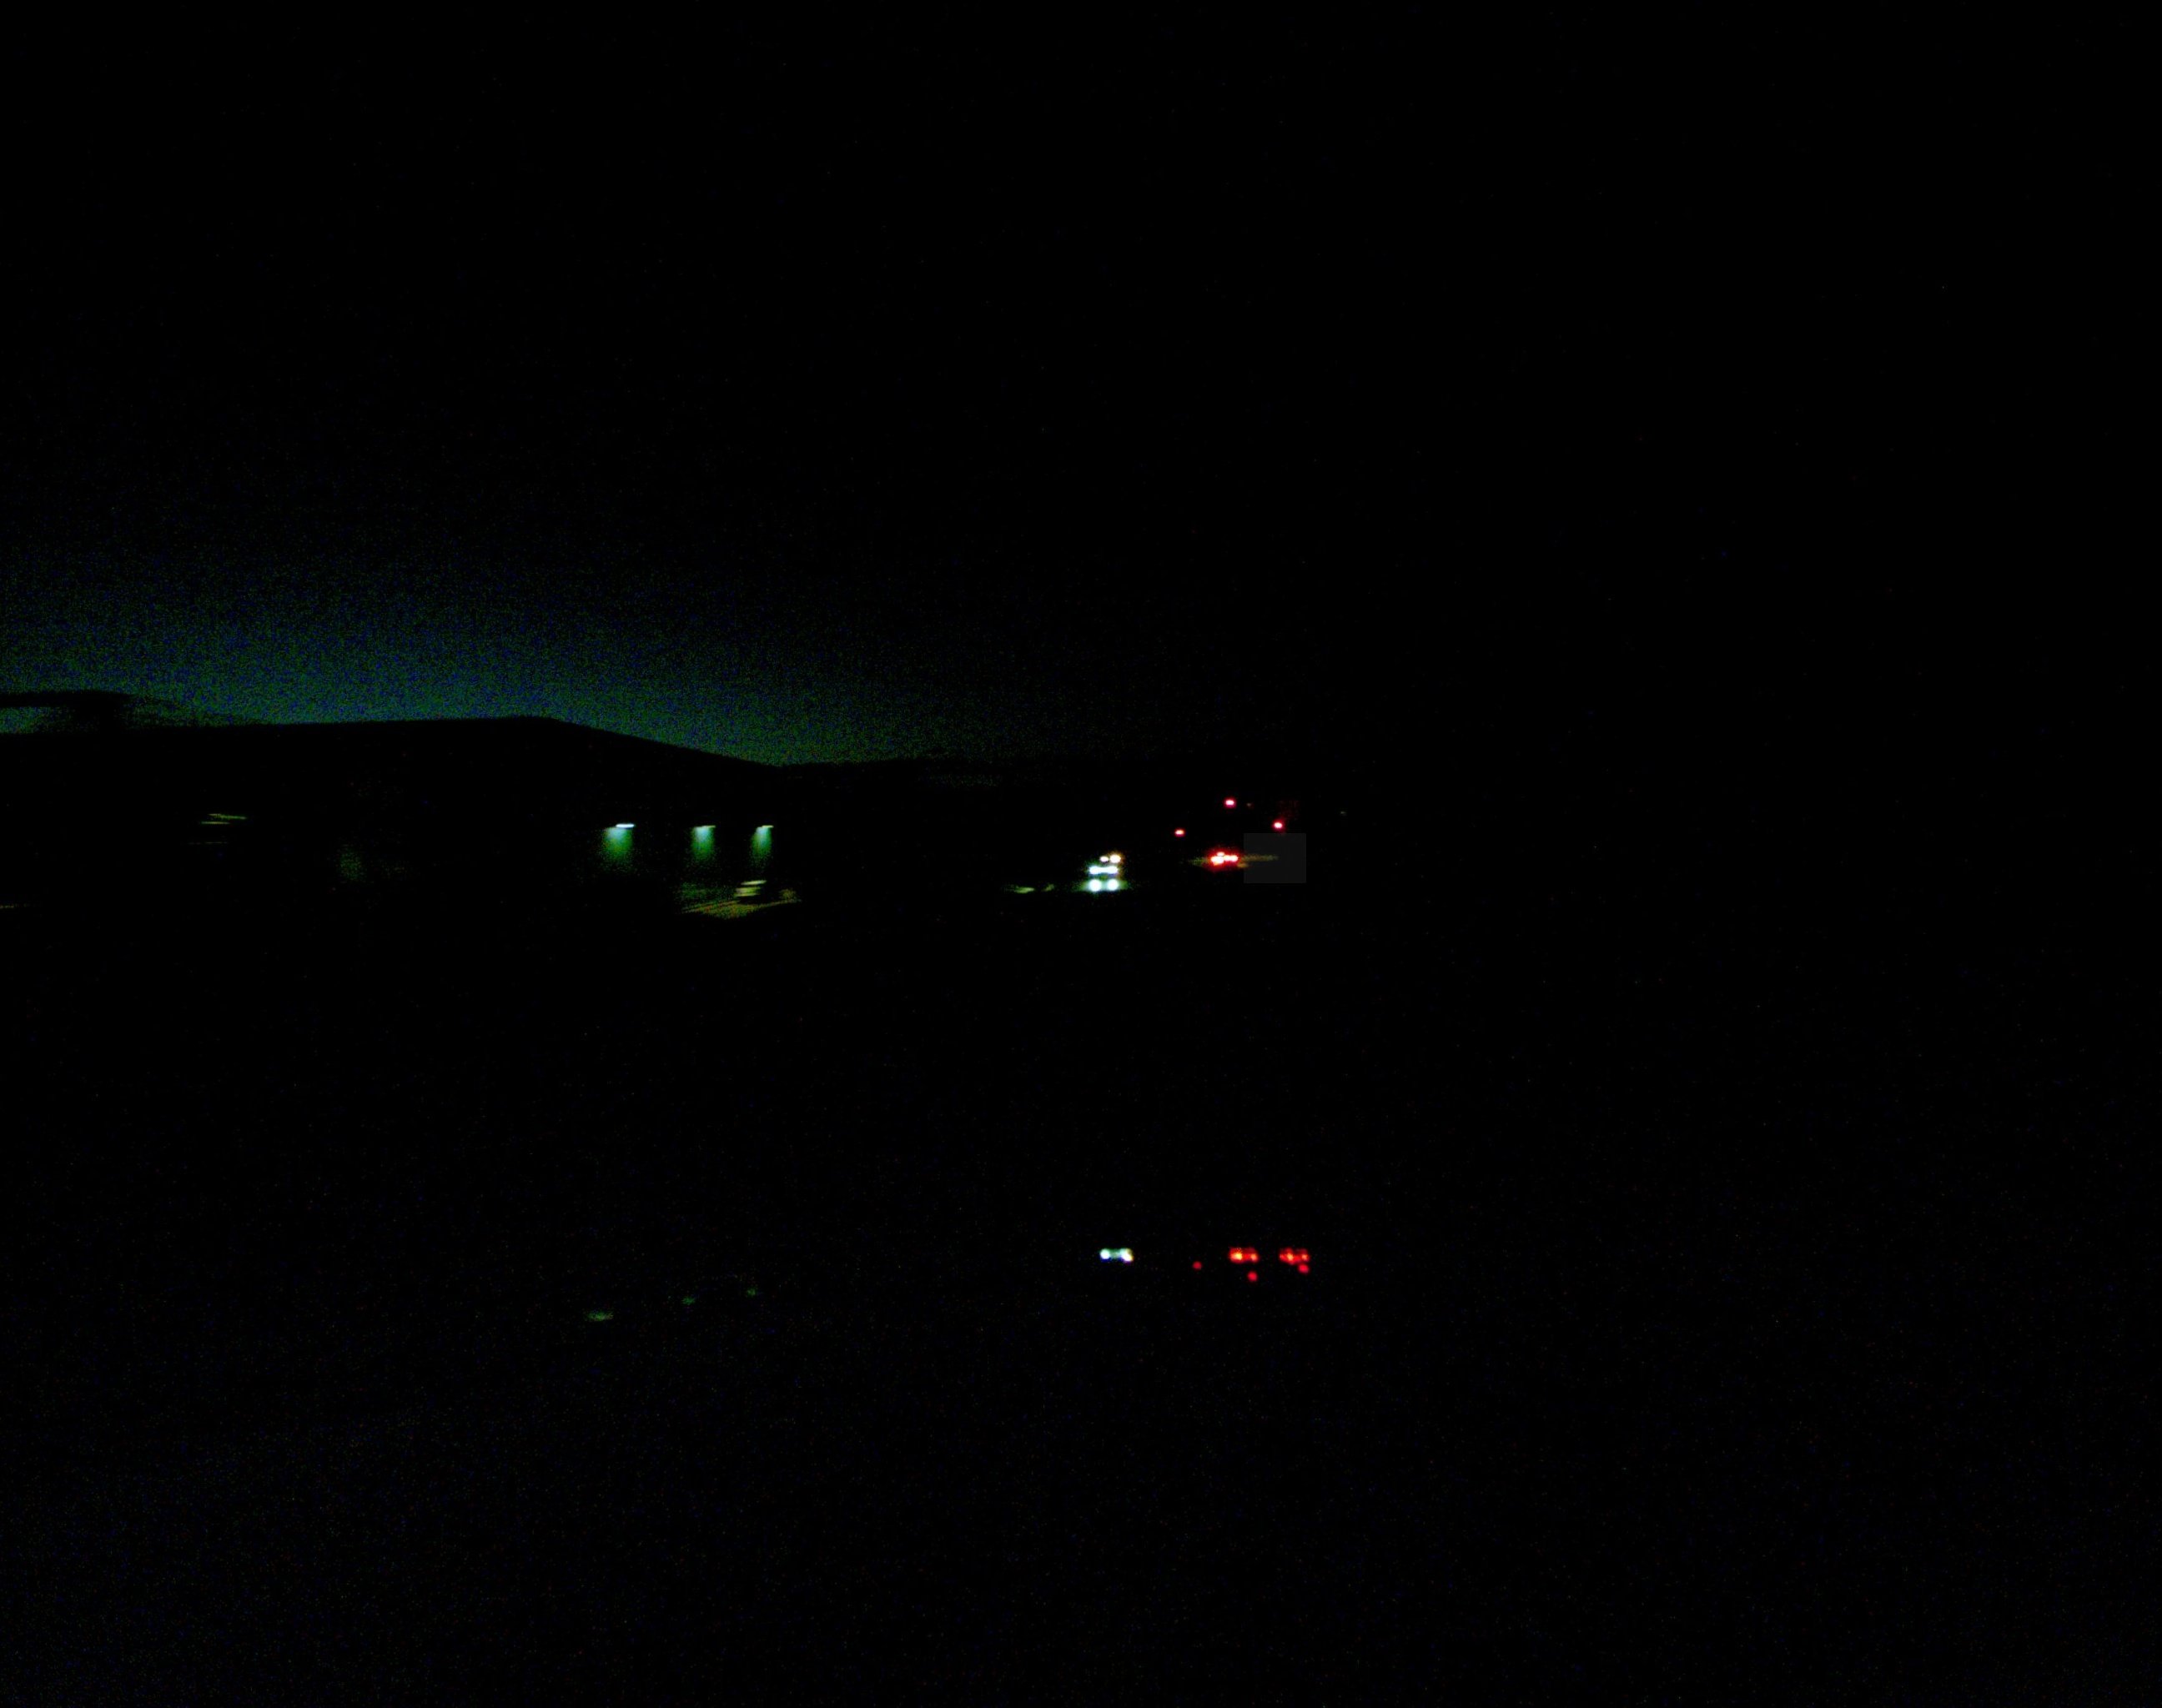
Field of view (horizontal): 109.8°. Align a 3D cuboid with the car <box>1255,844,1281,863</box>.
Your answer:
[{"bbox_3d":[17.568,-0.081,71.626,1.758,1.452,4.000,-4,2,6],"label":"car"}]

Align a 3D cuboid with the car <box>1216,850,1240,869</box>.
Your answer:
[{"bbox_3d":[12.891,0.446,66.691,1.713,1.436,3.986,-3,1,7],"label":"car"}]

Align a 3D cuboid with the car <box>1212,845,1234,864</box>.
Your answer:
[{"bbox_3d":[13.858,0.044,74.372,1.703,1.467,3.869,-4,3,5],"label":"car"}]

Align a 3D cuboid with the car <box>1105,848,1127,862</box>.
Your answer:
[{"bbox_3d":[3.889,0.087,83.541,1.655,1.442,3.493,-2,1,16],"label":"car"}]

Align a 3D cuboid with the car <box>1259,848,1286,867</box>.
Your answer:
[{"bbox_3d":[16.418,0.304,65.220,1.687,1.451,3.813,-2,2,7],"label":"car"}]

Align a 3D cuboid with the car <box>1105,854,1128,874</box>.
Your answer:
[{"bbox_3d":[2.982,0.804,63.286,1.762,1.451,4.193,-3,1,5],"label":"car"}]
